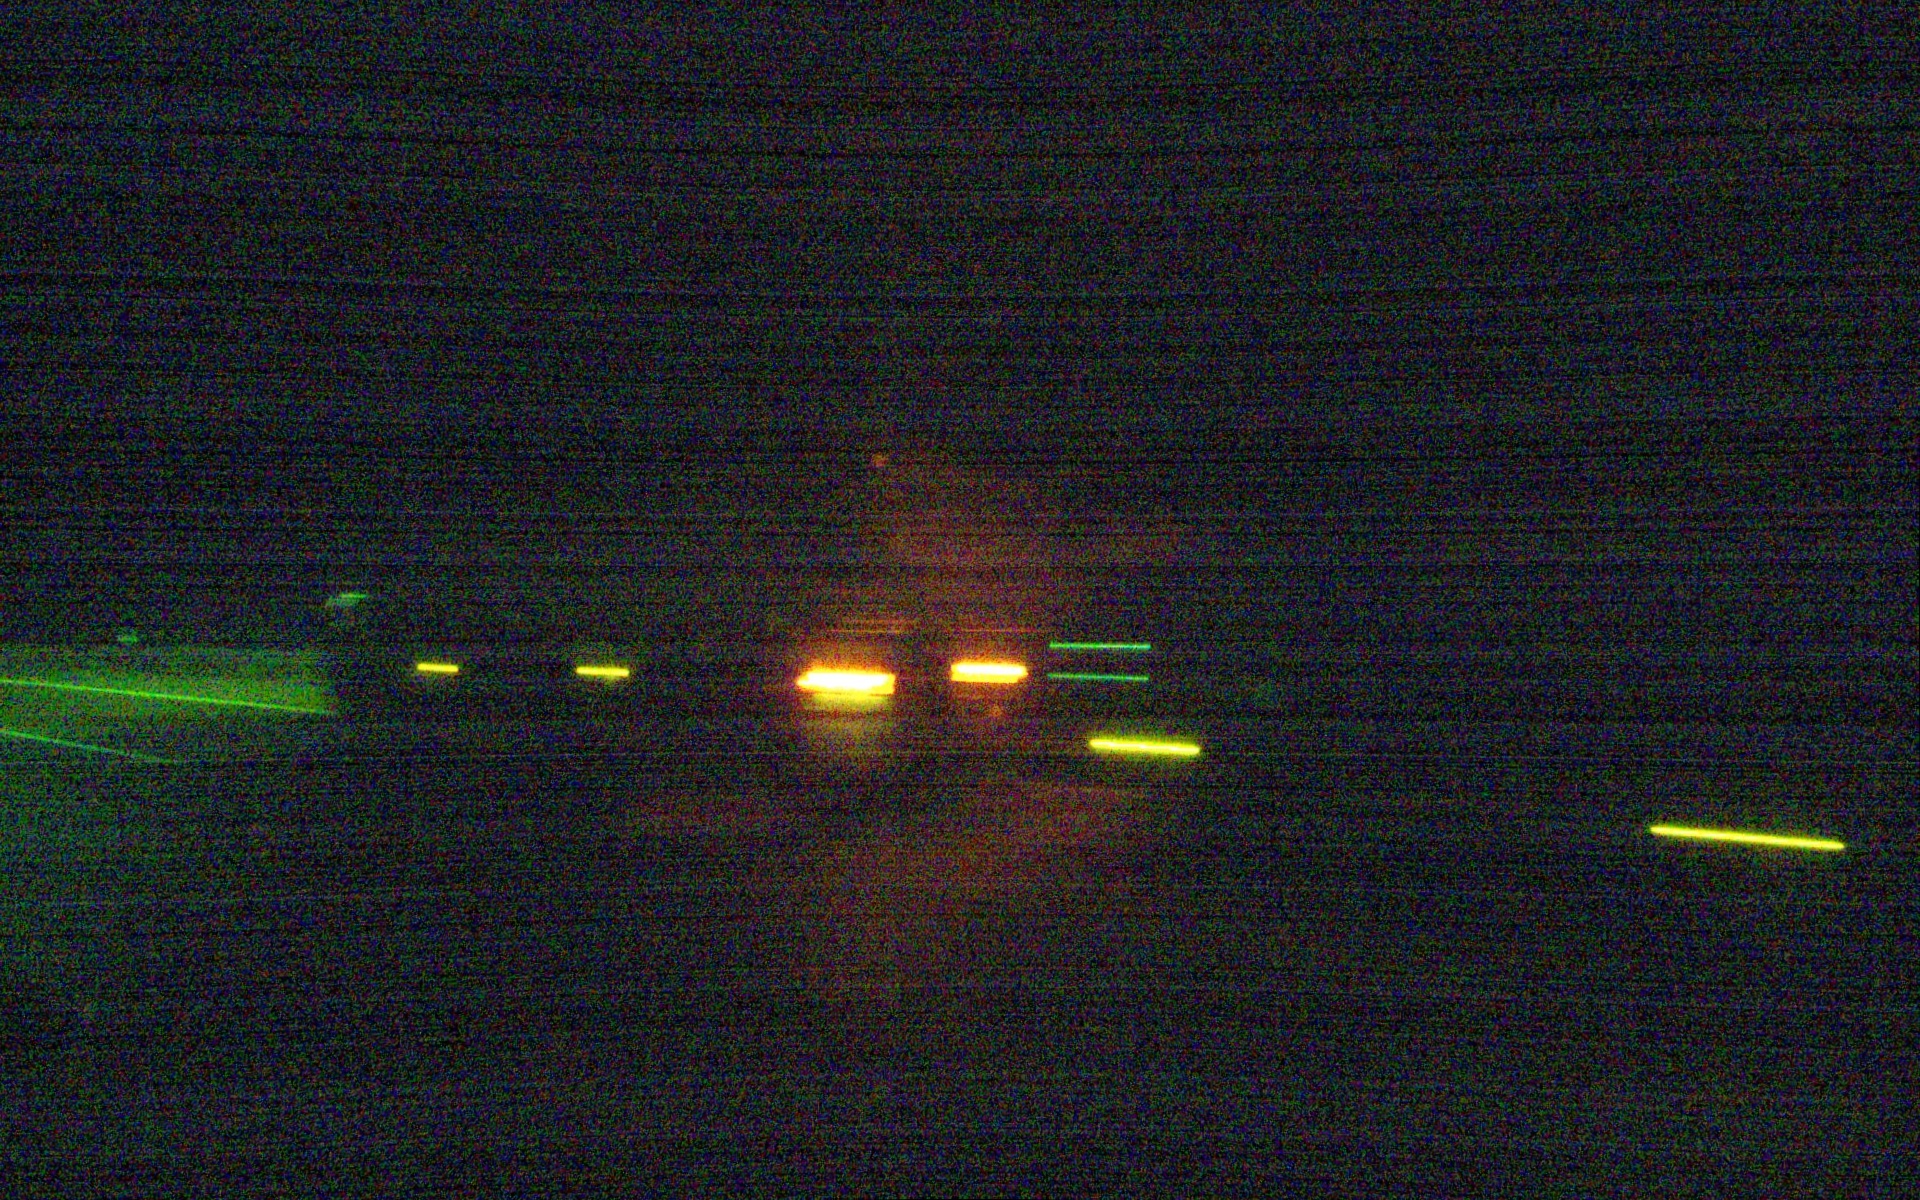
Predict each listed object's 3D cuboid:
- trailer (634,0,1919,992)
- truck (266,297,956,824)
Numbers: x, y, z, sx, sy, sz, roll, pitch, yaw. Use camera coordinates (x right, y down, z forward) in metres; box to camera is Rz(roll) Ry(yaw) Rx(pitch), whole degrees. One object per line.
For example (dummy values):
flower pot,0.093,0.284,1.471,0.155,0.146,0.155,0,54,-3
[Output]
trailer,3.468,-0.455,5.640,12.710,3.982,2.867,-2,-1,34
truck,-4.112,-0.218,10.808,7.942,3.889,2.860,-1,-1,34
